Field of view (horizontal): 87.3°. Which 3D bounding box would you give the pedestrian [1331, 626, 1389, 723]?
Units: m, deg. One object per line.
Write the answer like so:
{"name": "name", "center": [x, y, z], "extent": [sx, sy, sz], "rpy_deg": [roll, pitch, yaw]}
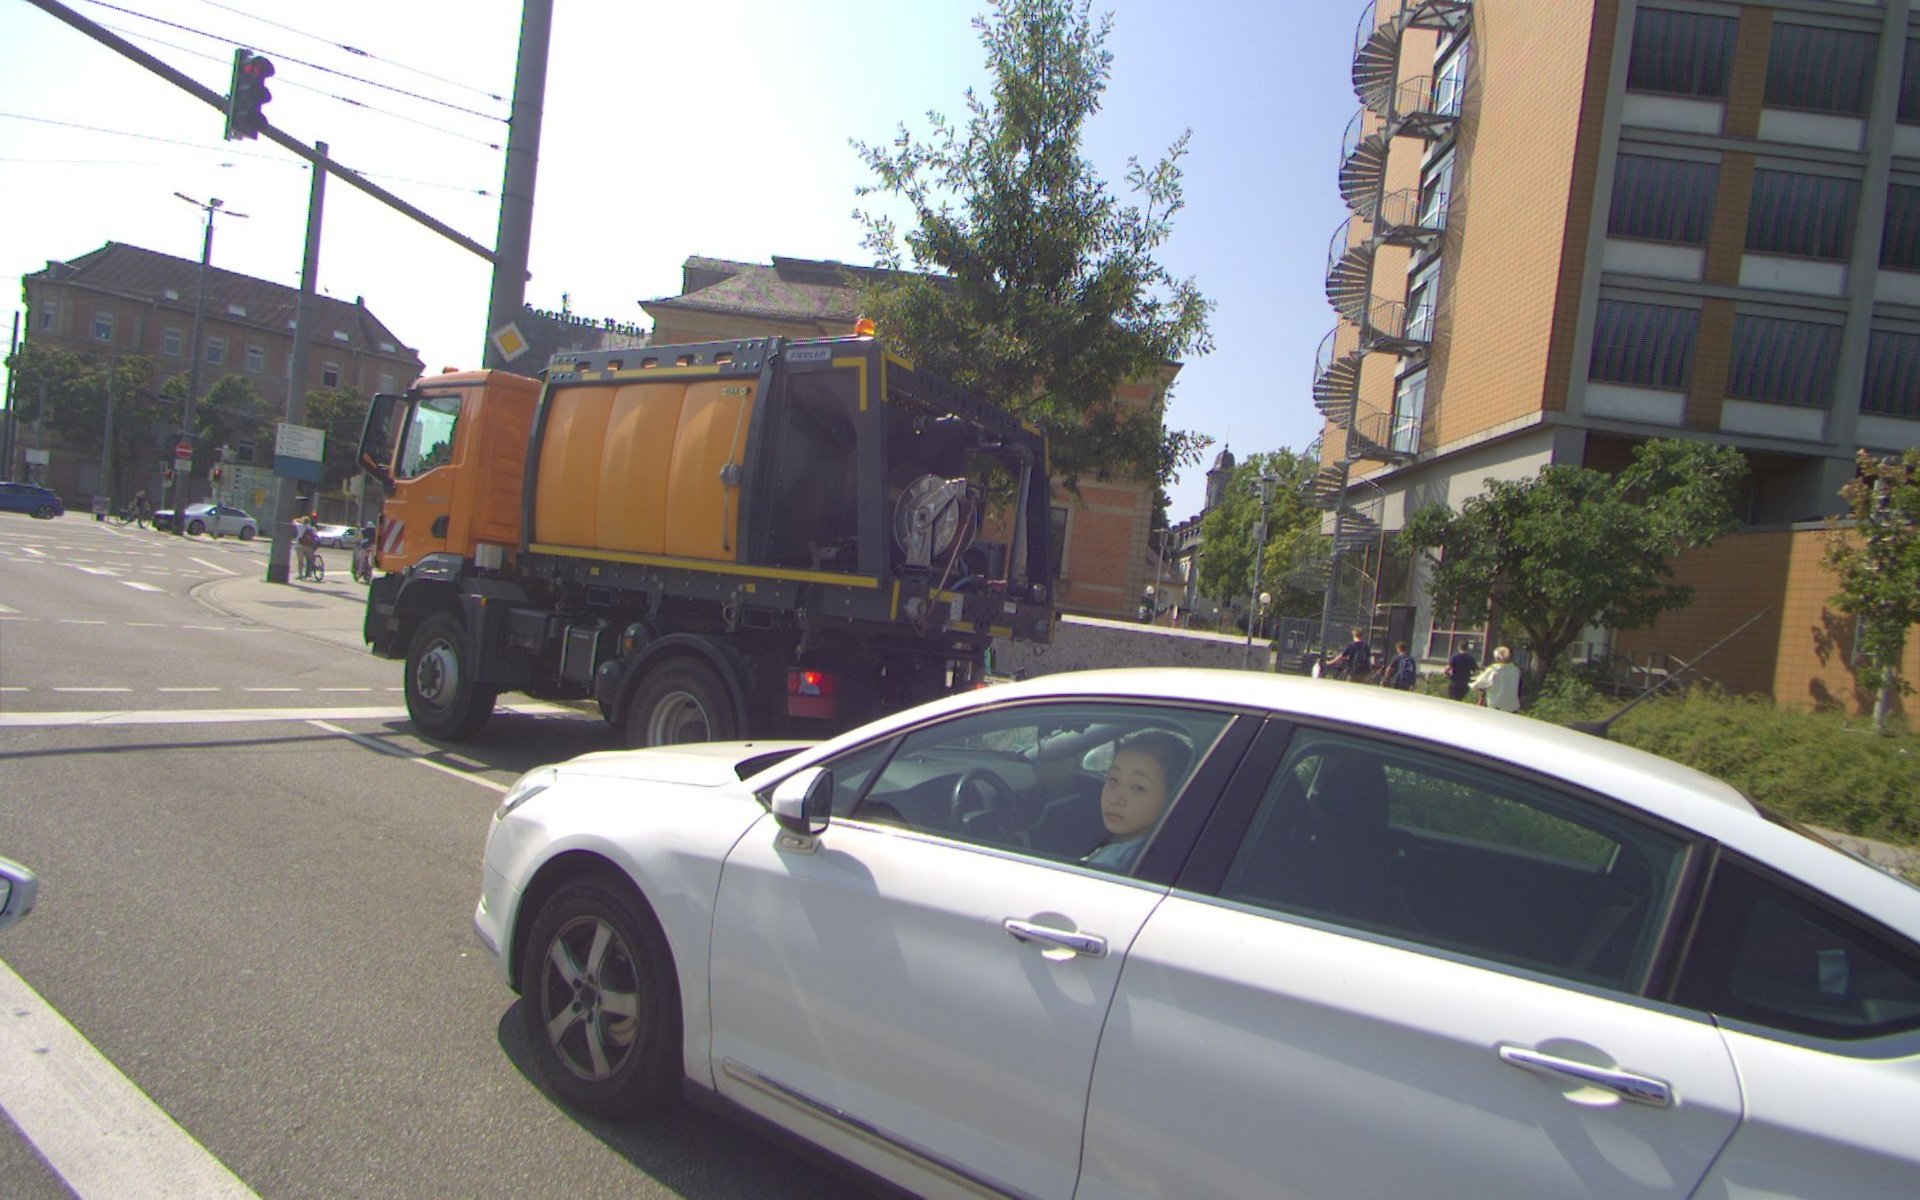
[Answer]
{"name": "pedestrian", "center": [8.144, 1.491, 20.508], "extent": [0.665, 1.862, 0.837], "rpy_deg": [6, 1, 1]}

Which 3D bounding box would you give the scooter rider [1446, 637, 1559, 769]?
{"name": "scooter rider", "center": [8.046, 1.509, 14.959], "extent": [0.847, 1.779, 1.038], "rpy_deg": [7, -1, -15]}

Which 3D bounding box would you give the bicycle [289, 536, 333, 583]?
{"name": "bicycle", "center": [-16.793, -1.047, 26.035], "extent": [1.632, 1.068, 0.535], "rpy_deg": [7, 1, 45]}

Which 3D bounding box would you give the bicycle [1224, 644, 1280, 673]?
{"name": "bicycle", "center": [10.970, 2.204, 37.841], "extent": [1.866, 0.850, 0.549], "rpy_deg": [7, 1, 6]}

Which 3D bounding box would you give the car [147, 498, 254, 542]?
{"name": "car", "center": [-38.206, -3.989, 50.780], "extent": [1.721, 1.638, 4.337], "rpy_deg": [7, 0, 5]}

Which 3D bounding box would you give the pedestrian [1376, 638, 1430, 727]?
{"name": "pedestrian", "center": [8.950, 1.642, 20.354], "extent": [0.665, 1.695, 0.837], "rpy_deg": [6, 1, 13]}

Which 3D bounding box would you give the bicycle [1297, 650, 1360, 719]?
{"name": "bicycle", "center": [7.521, 1.696, 20.606], "extent": [0.474, 1.227, 1.847], "rpy_deg": [6, 0, 0]}

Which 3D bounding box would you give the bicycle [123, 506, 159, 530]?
{"name": "bicycle", "center": [-42.651, -4.271, 52.393], "extent": [1.622, 1.068, 0.471], "rpy_deg": [7, 1, 11]}

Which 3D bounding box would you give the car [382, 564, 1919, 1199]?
{"name": "car", "center": [0.516, 0.883, 2.822], "extent": [4.535, 1.446, 1.770], "rpy_deg": [7, 0, 33]}

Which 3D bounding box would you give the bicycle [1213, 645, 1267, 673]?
{"name": "bicycle", "center": [10.842, 2.272, 38.978], "extent": [1.866, 0.850, 0.549], "rpy_deg": [7, 1, 6]}

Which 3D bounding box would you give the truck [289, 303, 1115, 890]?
{"name": "truck", "center": [-2.488, -0.240, 8.336], "extent": [6.751, 3.173, 2.494], "rpy_deg": [7, 0, 34]}

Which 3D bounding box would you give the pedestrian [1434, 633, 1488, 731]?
{"name": "pedestrian", "center": [10.192, 1.652, 20.498], "extent": [0.617, 1.895, 0.837], "rpy_deg": [6, 1, 13]}

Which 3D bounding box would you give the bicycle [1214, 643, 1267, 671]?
{"name": "bicycle", "center": [11.048, 2.233, 39.617], "extent": [1.866, 0.850, 0.549], "rpy_deg": [7, 1, 6]}

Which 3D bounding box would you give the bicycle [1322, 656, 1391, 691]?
{"name": "bicycle", "center": [12.547, 2.325, 31.845], "extent": [1.866, 0.850, 0.549], "rpy_deg": [7, 1, 6]}

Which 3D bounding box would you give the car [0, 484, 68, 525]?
{"name": "car", "center": [-41.502, -4.281, 43.602], "extent": [1.571, 1.411, 3.986], "rpy_deg": [7, 0, 36]}

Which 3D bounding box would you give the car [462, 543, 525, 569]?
{"name": "car", "center": [-35.363, -3.306, 76.415], "extent": [1.742, 1.433, 4.771], "rpy_deg": [7, 0, 13]}

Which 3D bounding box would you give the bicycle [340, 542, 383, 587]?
{"name": "bicycle", "center": [-16.295, -0.980, 27.388], "extent": [1.632, 1.068, 0.535], "rpy_deg": [7, 1, 45]}

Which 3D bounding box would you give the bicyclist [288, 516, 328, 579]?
{"name": "bicyclist", "center": [-16.953, -1.376, 26.153], "extent": [0.702, 1.537, 0.626], "rpy_deg": [8, 1, 44]}

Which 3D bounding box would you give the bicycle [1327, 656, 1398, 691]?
{"name": "bicycle", "center": [12.462, 2.273, 31.170], "extent": [1.866, 0.850, 0.549], "rpy_deg": [7, 1, 6]}

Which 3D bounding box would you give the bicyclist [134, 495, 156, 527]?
{"name": "bicyclist", "center": [-42.423, -4.609, 52.362], "extent": [0.511, 1.548, 0.613], "rpy_deg": [7, 1, 8]}

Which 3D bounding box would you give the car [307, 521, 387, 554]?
{"name": "car", "center": [-36.474, -3.679, 59.998], "extent": [1.742, 1.433, 4.190], "rpy_deg": [7, 0, 7]}

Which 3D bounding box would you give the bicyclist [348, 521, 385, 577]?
{"name": "bicyclist", "center": [-15.999, -1.378, 27.098], "extent": [0.882, 1.410, 0.529], "rpy_deg": [7, 1, 44]}

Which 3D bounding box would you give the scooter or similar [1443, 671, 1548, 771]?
{"name": "scooter or similar", "center": [7.965, 1.783, 15.013], "extent": [0.641, 1.294, 1.174], "rpy_deg": [7, -1, -14]}
